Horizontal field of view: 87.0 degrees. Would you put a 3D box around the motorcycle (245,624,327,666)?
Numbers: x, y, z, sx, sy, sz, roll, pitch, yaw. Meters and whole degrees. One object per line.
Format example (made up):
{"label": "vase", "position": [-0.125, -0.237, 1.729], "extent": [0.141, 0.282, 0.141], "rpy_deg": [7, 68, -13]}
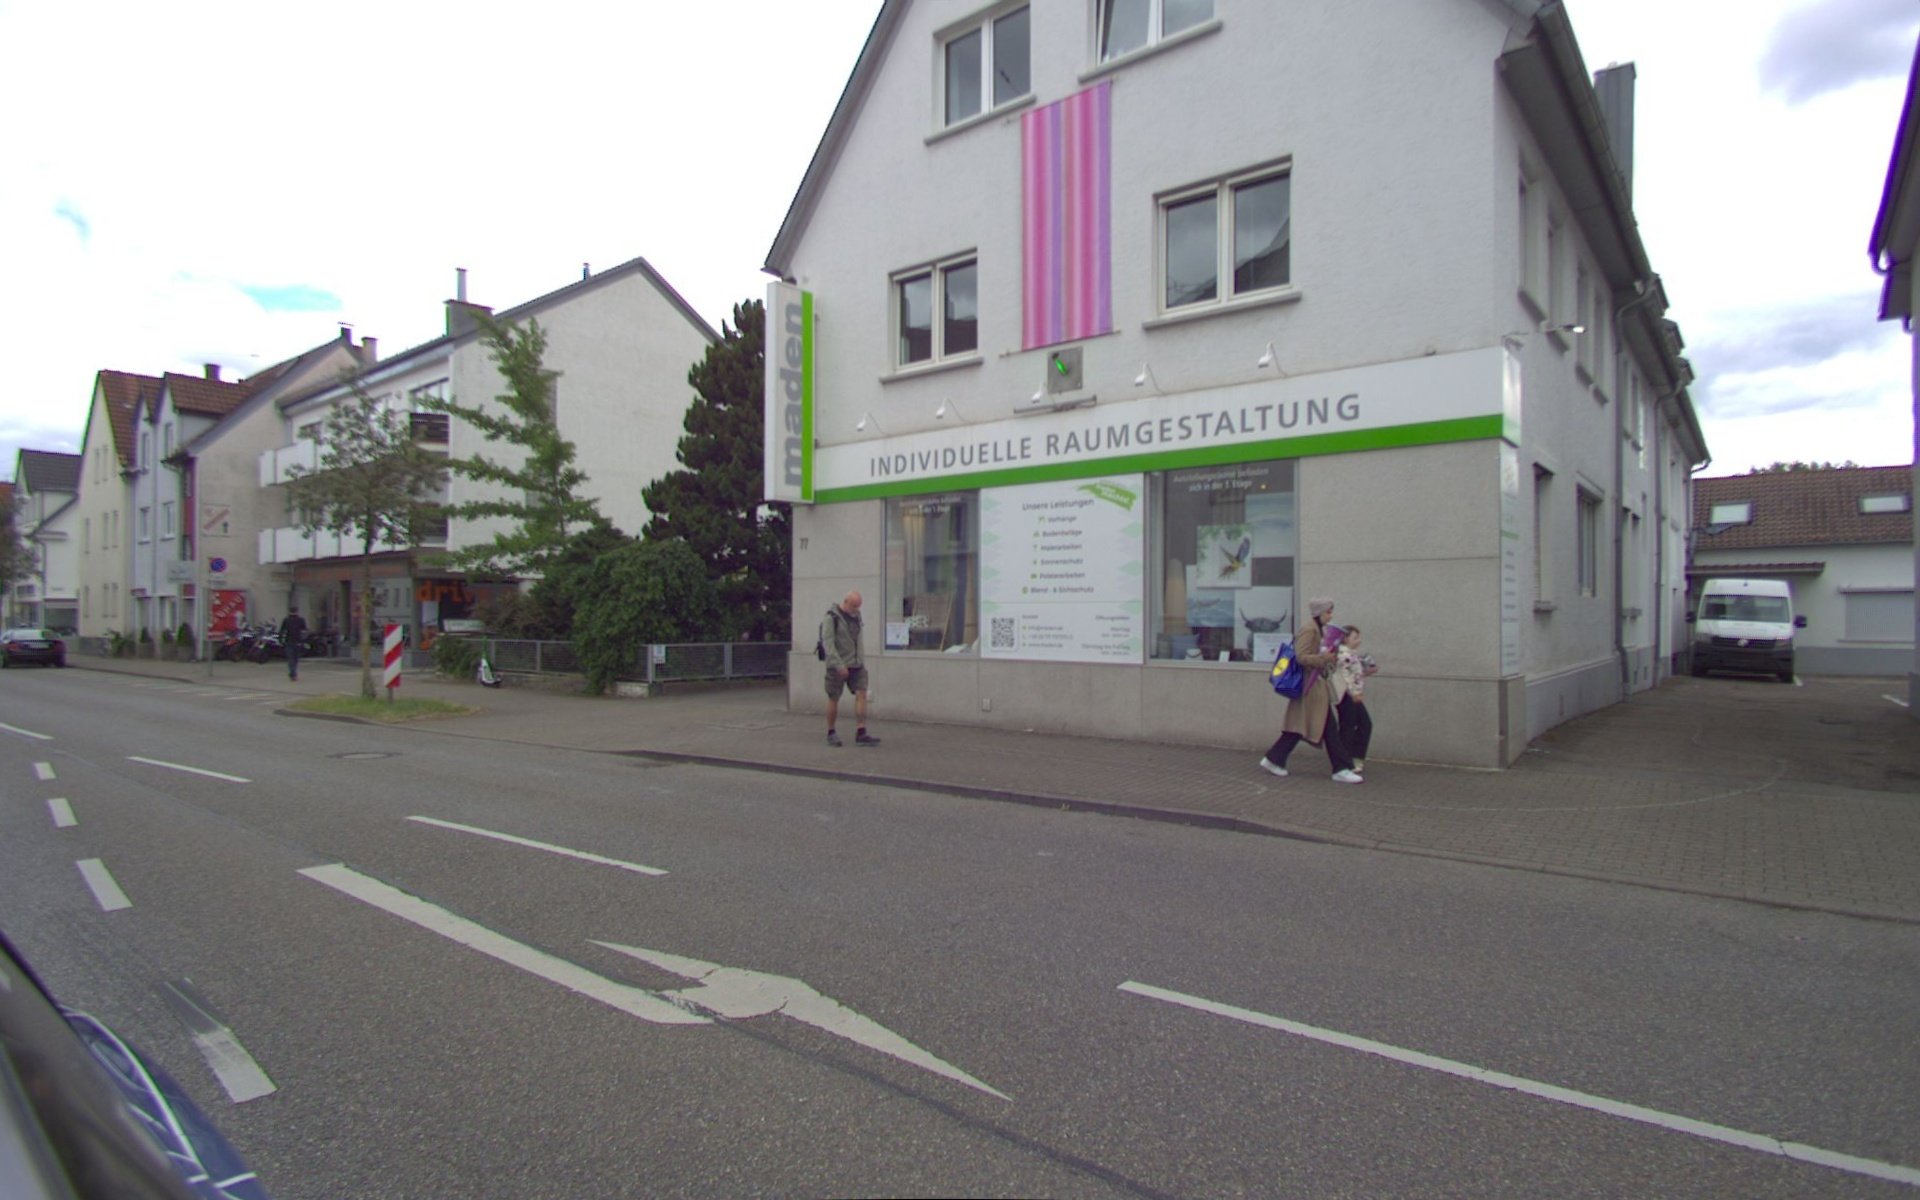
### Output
{"label": "motorcycle", "position": [-22.787, 1.507, 34.254], "extent": [0.612, 1.275, 2.204], "rpy_deg": [-1, 1, 38]}

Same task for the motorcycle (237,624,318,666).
{"label": "motorcycle", "position": [-23.458, 1.529, 34.818], "extent": [0.612, 1.275, 2.204], "rpy_deg": [-1, 1, 38]}

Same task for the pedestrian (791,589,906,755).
{"label": "pedestrian", "position": [-1.257, 0.771, 11.379], "extent": [1.019, 1.756, 0.744], "rpy_deg": [-1, 1, 40]}

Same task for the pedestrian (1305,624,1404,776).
{"label": "pedestrian", "position": [3.574, 0.875, 9.170], "extent": [0.654, 1.289, 0.593], "rpy_deg": [-1, 0, 40]}

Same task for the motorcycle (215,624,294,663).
{"label": "motorcycle", "position": [-25.258, 1.538, 36.257], "extent": [0.612, 1.275, 2.204], "rpy_deg": [-1, 1, 38]}

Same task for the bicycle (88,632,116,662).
{"label": "bicycle", "position": [-35.545, 1.919, 41.908], "extent": [2.022, 1.205, 0.509], "rpy_deg": [-1, -1, 39]}

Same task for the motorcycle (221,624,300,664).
{"label": "motorcycle", "position": [-24.741, 1.538, 35.830], "extent": [0.612, 1.275, 2.204], "rpy_deg": [-1, 1, 38]}

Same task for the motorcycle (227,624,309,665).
{"label": "motorcycle", "position": [-24.133, 1.517, 35.333], "extent": [0.698, 1.275, 2.204], "rpy_deg": [-1, 1, 38]}

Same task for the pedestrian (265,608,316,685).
{"label": "pedestrian", "position": [-16.866, 1.158, 25.497], "extent": [1.019, 1.863, 0.744], "rpy_deg": [-1, 2, 40]}

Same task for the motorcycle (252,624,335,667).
{"label": "motorcycle", "position": [-22.121, 1.493, 33.640], "extent": [0.612, 1.275, 2.204], "rpy_deg": [-1, 1, 38]}

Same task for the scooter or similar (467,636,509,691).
{"label": "scooter or similar", "position": [-9.872, 1.312, 21.146], "extent": [1.179, 1.120, 0.336], "rpy_deg": [-1, -1, 41]}

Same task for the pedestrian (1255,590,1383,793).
{"label": "pedestrian", "position": [3.108, 0.749, 8.763], "extent": [0.792, 1.629, 0.744], "rpy_deg": [-1, 2, 40]}

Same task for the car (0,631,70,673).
{"label": "car", "position": [-34.006, 1.846, 36.794], "extent": [4.336, 1.428, 1.770], "rpy_deg": [-1, -2, 39]}

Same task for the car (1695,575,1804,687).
{"label": "car", "position": [20.283, 0.689, 26.031], "extent": [1.957, 2.527, 5.918], "rpy_deg": [2, 1, 38]}
